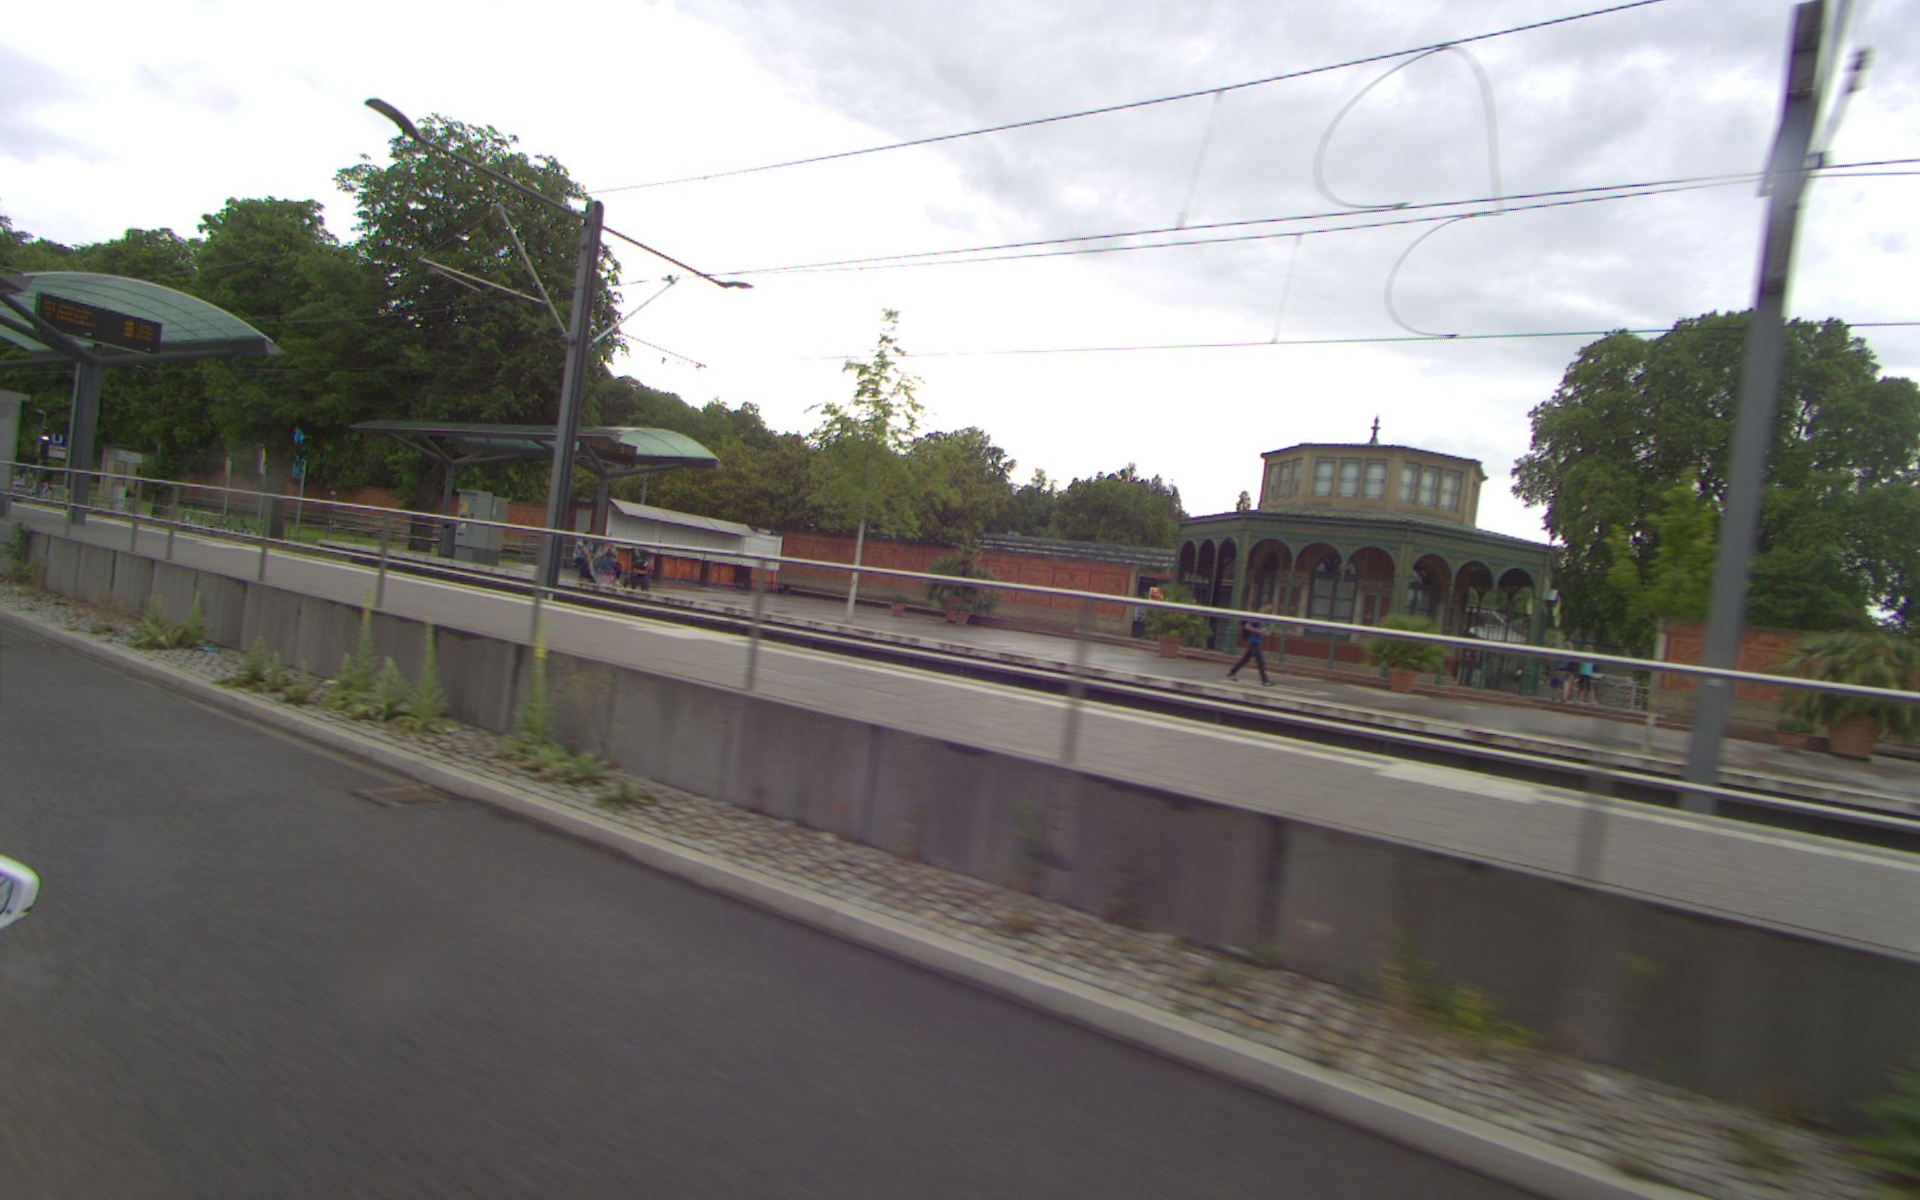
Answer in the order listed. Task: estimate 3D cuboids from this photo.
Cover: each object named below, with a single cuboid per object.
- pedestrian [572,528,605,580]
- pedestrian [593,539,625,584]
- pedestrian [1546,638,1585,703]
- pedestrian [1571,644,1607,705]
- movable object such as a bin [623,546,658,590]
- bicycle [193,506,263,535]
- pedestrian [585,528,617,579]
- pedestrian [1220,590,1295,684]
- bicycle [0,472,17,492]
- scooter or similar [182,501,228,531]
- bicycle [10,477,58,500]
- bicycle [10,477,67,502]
[{"bbox_3d":[-9.312,-1.150,25.201,0.542,1.242,0.437,9,4,33],"label":"pedestrian"},{"bbox_3d":[-8.676,-0.945,24.851,0.542,1.022,0.437,9,4,33],"label":"pedestrian"},{"bbox_3d":[17.236,2.007,28.636,0.686,1.731,0.530,7,0,44],"label":"pedestrian"},{"bbox_3d":[17.977,2.129,28.762,0.544,1.678,0.466,6,2,-23],"label":"pedestrian"},{"bbox_3d":[-8.101,-0.806,25.530,0.671,1.022,0.437,9,4,33],"label":"movable object such as a bin"},{"bbox_3d":[-30.951,-3.347,42.568,0.560,0.970,2.322,9,3,31],"label":"bicycle"},{"bbox_3d":[-9.215,-1.191,25.799,0.542,1.242,0.437,9,4,33],"label":"pedestrian"},{"bbox_3d":[6.351,0.776,21.499,1.163,1.815,0.720,9,5,33],"label":"pedestrian"},{"bbox_3d":[-57.079,-7.059,59.476,0.642,1.045,1.811,9,3,30],"label":"bicycle"},{"bbox_3d":[-33.629,-3.742,44.842,0.424,1.152,1.544,9,3,31],"label":"scooter or similar"},{"bbox_3d":[-51.907,-6.243,56.405,0.642,1.045,1.811,9,3,30],"label":"bicycle"},{"bbox_3d":[-51.205,-6.128,55.915,0.677,1.045,2.224,9,3,30],"label":"bicycle"}]
